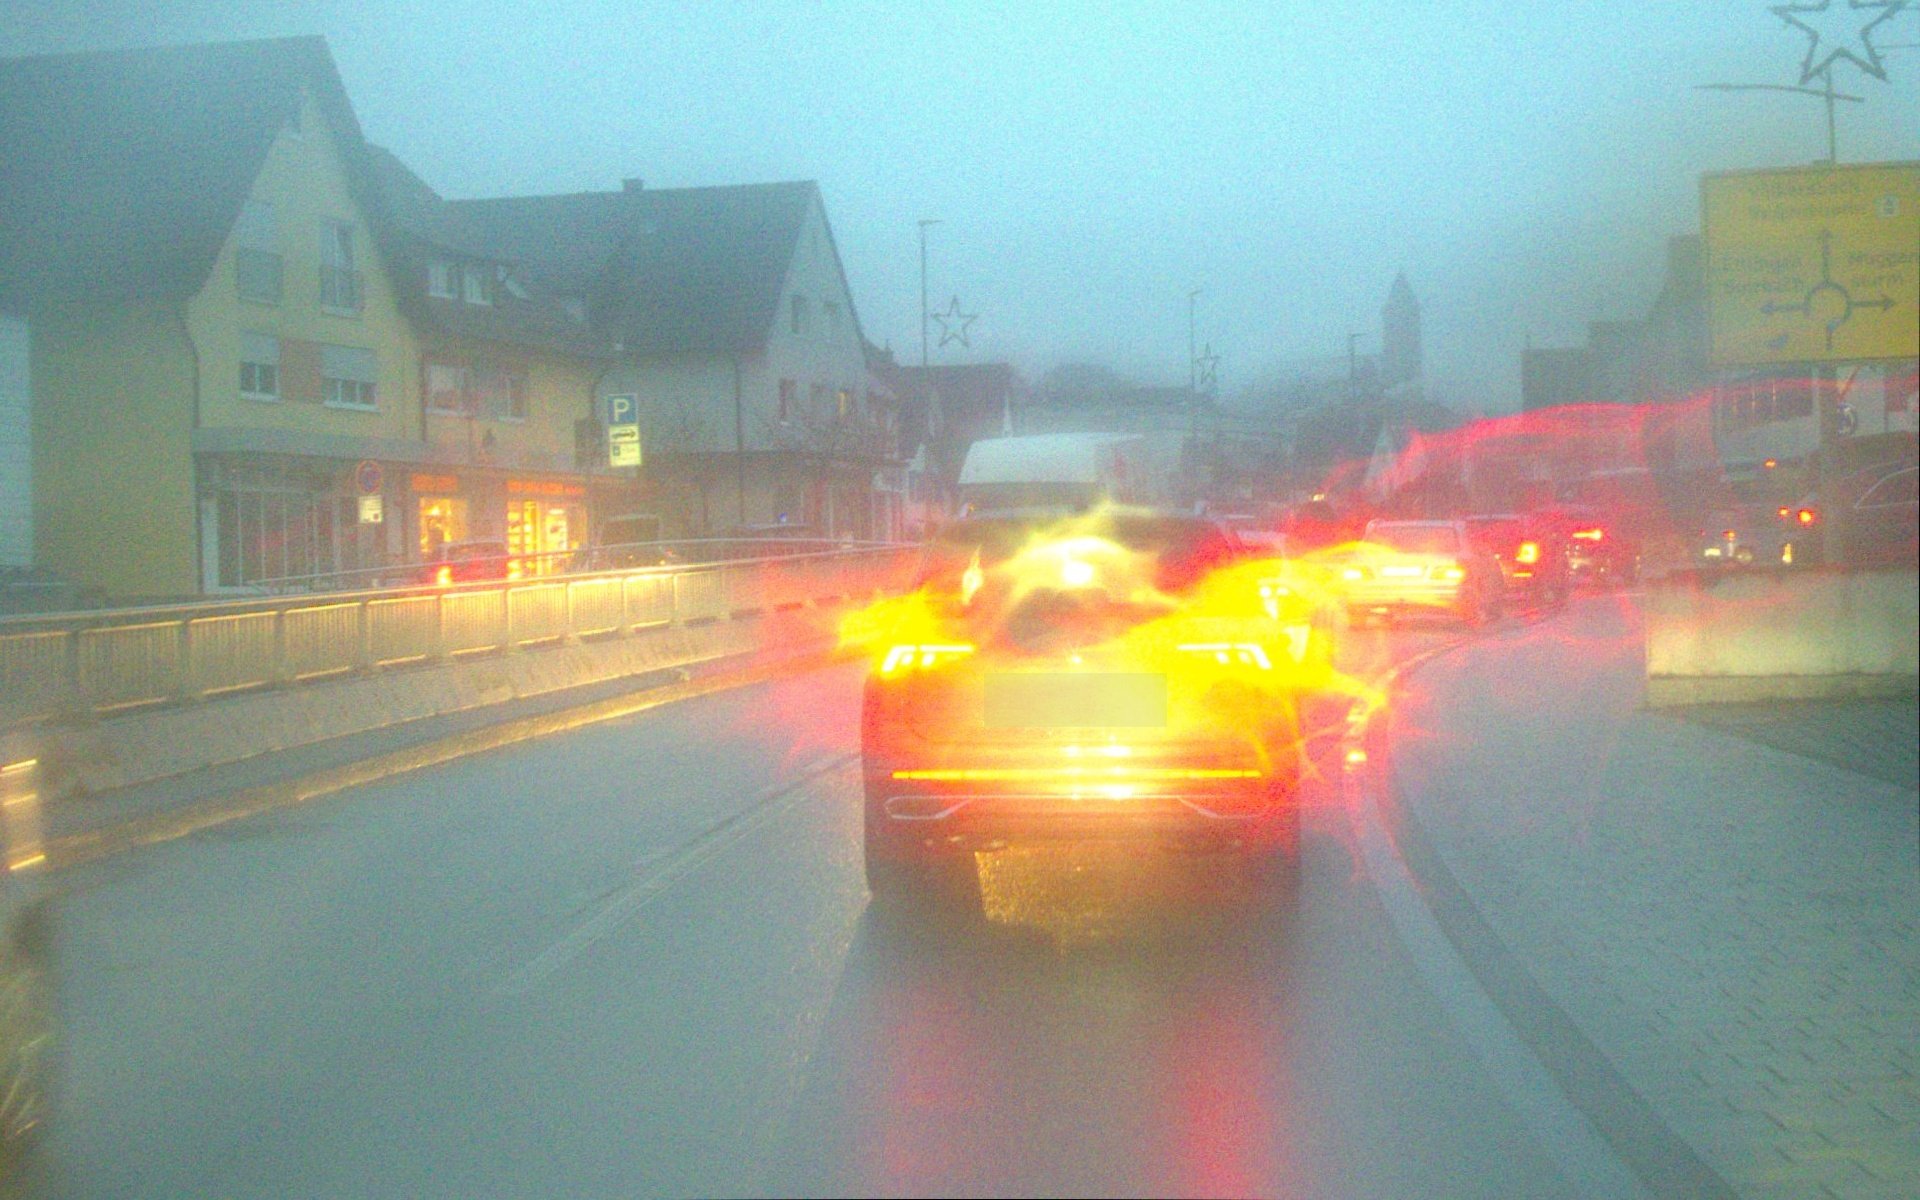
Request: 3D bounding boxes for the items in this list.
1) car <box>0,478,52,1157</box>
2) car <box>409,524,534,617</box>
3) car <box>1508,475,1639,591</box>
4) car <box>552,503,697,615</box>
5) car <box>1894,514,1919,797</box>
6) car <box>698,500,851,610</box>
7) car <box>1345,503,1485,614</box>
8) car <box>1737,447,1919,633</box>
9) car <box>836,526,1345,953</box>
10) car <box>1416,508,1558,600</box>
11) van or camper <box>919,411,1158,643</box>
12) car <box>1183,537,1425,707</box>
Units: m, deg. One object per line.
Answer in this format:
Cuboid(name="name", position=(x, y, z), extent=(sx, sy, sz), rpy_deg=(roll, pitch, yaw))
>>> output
Cuboid(name="car", position=(-3.108, 0.560, 6.953), extent=(1.662, 1.630, 3.551), rpy_deg=(-1, 1, -2))
Cuboid(name="car", position=(-9.099, -0.576, 63.830), extent=(1.821, 1.607, 4.058), rpy_deg=(-2, 2, -14))
Cuboid(name="car", position=(11.735, -1.291, 66.047), extent=(2.158, 1.984, 4.498), rpy_deg=(-5, 1, 8))
Cuboid(name="car", position=(-6.220, -0.774, 63.359), extent=(2.037, 1.919, 4.058), rpy_deg=(-2, 2, -14))
Cuboid(name="car", position=(5.775, 0.250, 15.235), extent=(1.765, 1.389, 3.915), rpy_deg=(-3, 1, -6))
Cuboid(name="car", position=(-3.477, -0.853, 63.794), extent=(2.037, 1.919, 4.058), rpy_deg=(-2, 2, -14))
Cuboid(name="car", position=(6.207, -0.594, 46.967), extent=(1.815, 1.407, 3.999), rpy_deg=(0, 2, 7))
Cuboid(name="car", position=(10.269, -0.790, 35.120), extent=(4.176, 1.633, 1.804), rpy_deg=(-8, 1, 6))
Cuboid(name="car", position=(0.479, 0.492, 15.432), extent=(1.964, 1.589, 4.314), rpy_deg=(0, 2, -1))
Cuboid(name="car", position=(8.715, -0.779, 56.590), extent=(1.995, 1.387, 3.998), rpy_deg=(-1, 2, 13))
Cuboid(name="van or camper", position=(1.108, -0.943, 43.735), extent=(2.241, 2.660, 6.554), rpy_deg=(-2, 1, 8))
Cuboid(name="car", position=(3.225, 0.150, 31.635), extent=(1.683, 1.448, 3.998), rpy_deg=(1, 1, 14))
